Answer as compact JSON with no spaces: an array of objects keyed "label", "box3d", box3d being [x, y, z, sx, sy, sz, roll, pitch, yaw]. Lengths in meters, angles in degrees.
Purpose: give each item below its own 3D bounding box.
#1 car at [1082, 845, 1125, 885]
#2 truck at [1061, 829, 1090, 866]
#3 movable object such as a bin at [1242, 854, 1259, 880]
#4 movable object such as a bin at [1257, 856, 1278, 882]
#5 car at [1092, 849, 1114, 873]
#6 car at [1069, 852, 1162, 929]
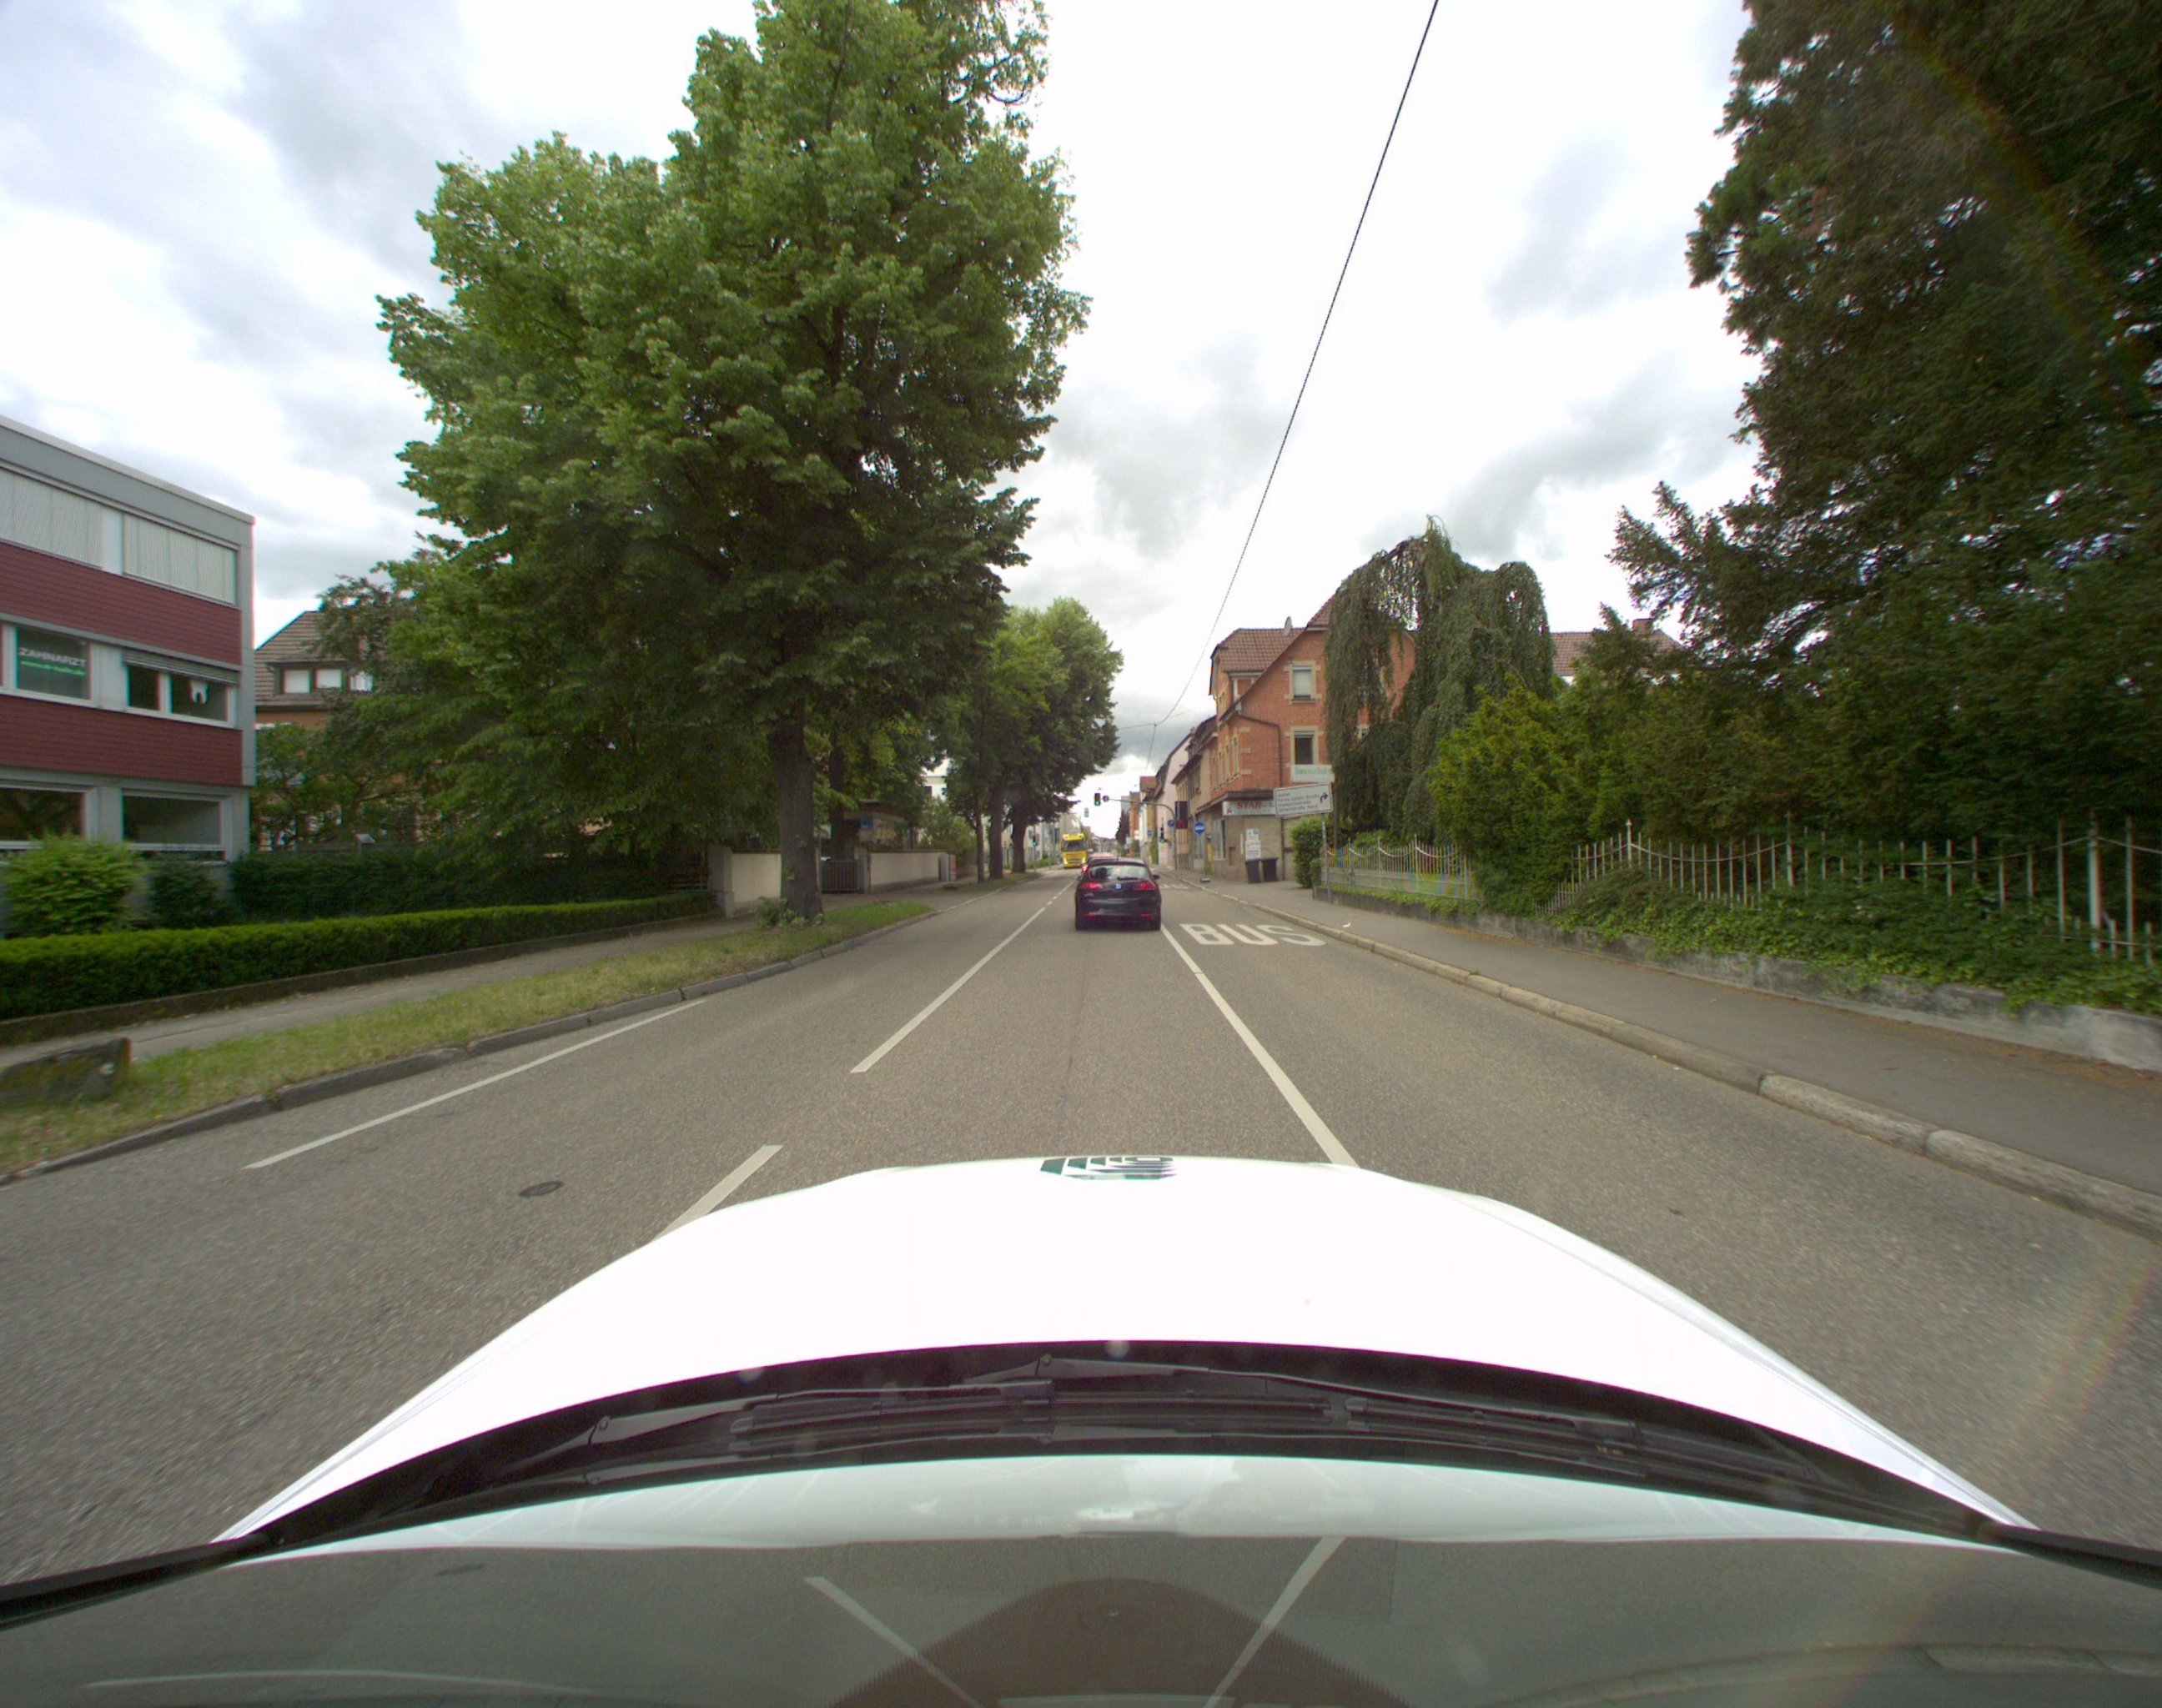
[{"label":"car","box3d":[1.030,0.509,37.222,1.836,1.693,4.001,1,-1,1]},{"label":"truck","box3d":[-0.530,-0.619,88.239,2.832,3.782,7.673,1,-1,2]},{"label":"movable object such as a bin","box3d":[7.299,0.566,35.084,0.604,1.101,0.623,-2,-1,2]},{"label":"movable object such as a bin","box3d":[8.020,0.651,35.079,0.696,1.059,0.724,-2,-1,2]},{"label":"car","box3d":[1.603,0.528,59.560,1.526,1.693,3.694,1,-1,1]},{"label":"car","box3d":[0.719,0.714,17.537,1.752,1.442,4.001,1,-1,2]}]
